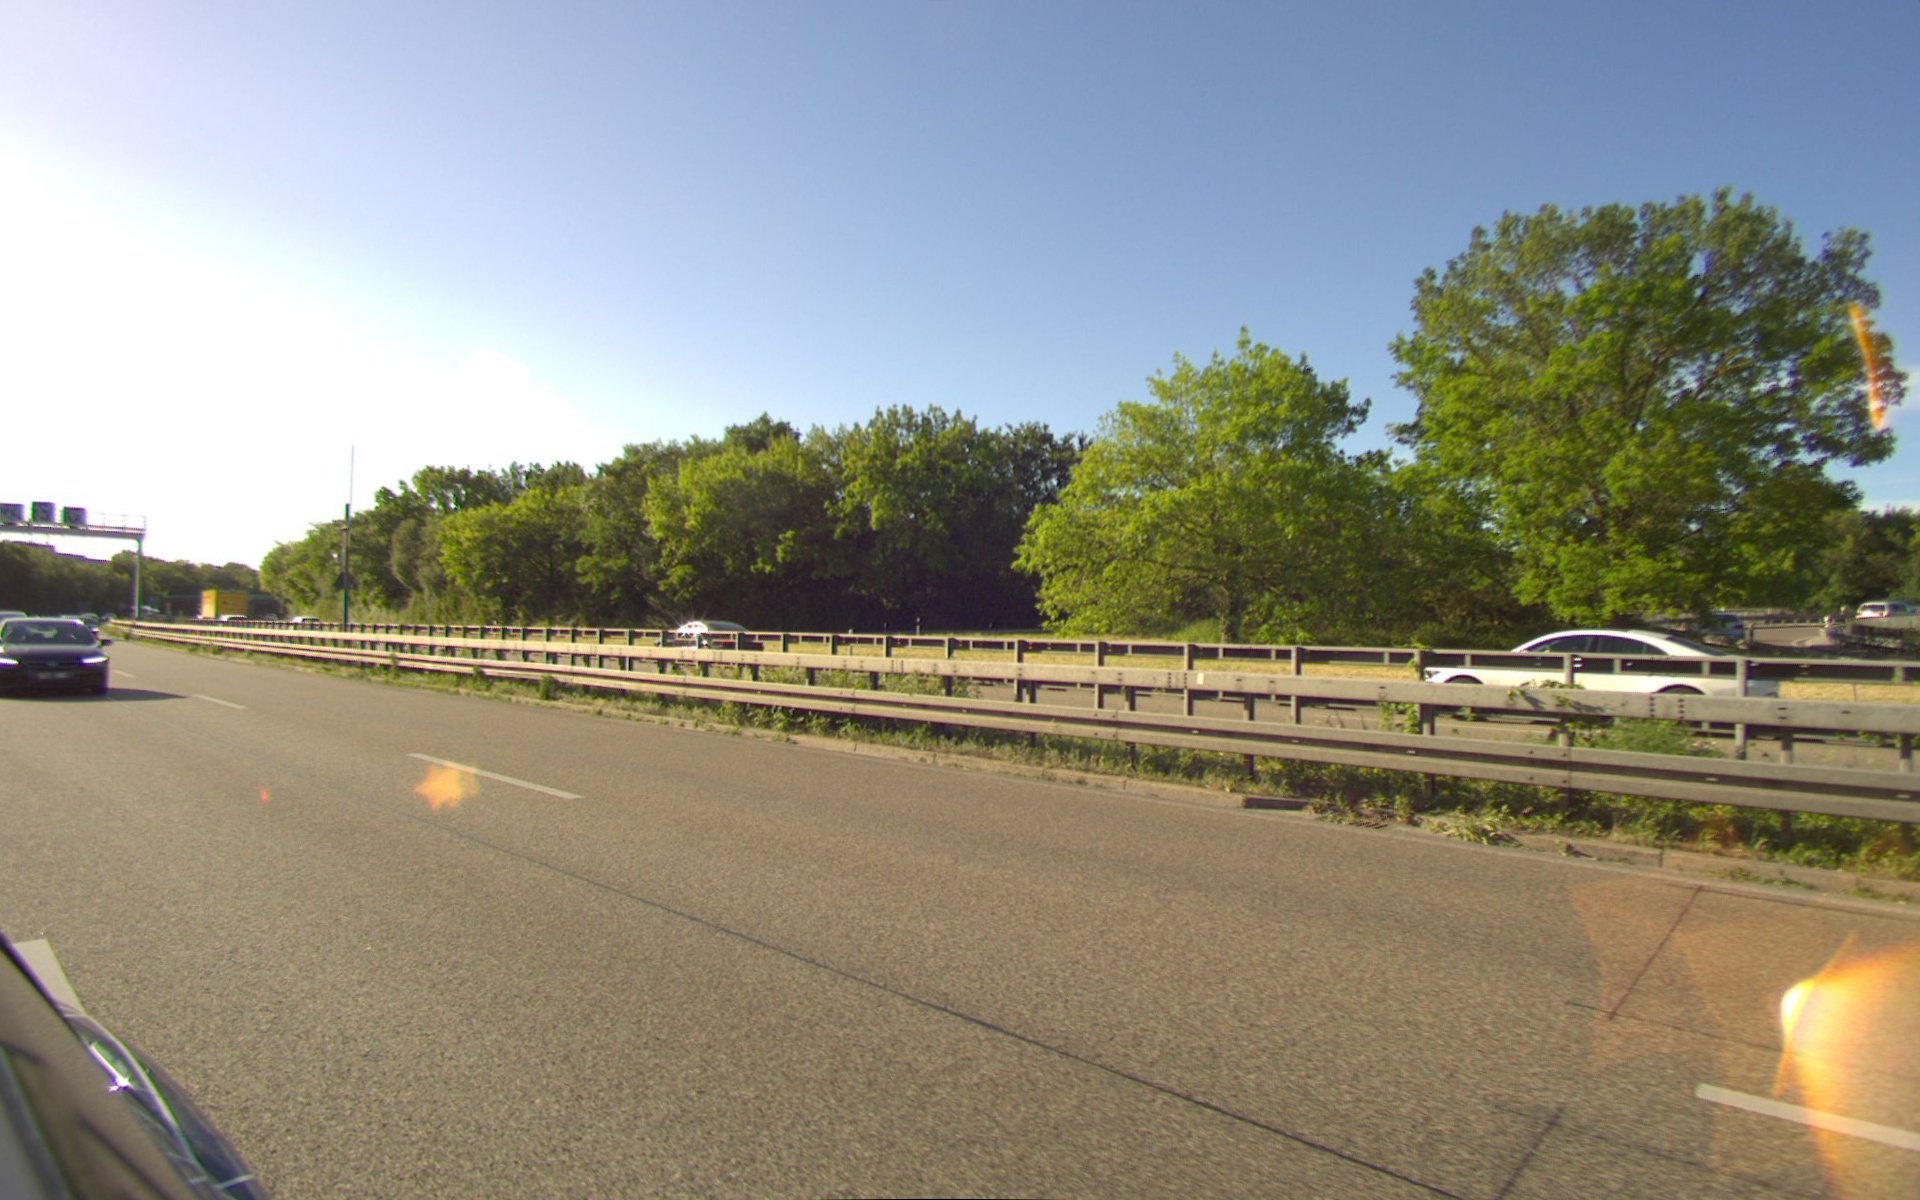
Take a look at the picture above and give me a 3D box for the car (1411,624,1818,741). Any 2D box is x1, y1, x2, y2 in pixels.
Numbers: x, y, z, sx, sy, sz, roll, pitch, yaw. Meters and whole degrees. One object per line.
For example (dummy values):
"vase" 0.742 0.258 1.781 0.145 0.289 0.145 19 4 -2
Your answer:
"car" 9.493 1.083 14.954 4.828 1.425 1.973 -1 -1 41

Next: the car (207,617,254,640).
"car" -49.082 1.893 68.027 1.970 1.425 4.836 1 -1 -43

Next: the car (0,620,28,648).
"car" -50.237 1.758 52.905 4.832 1.425 1.971 -1 -1 44

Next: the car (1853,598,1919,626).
"car" 58.312 0.736 62.815 4.642 1.653 2.005 0 -1 -13

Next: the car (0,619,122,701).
"car" -18.092 1.092 19.790 4.830 1.425 1.972 -1 -3 43

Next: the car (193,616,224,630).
"car" -77.732 2.372 104.712 1.970 1.425 4.834 1 -1 -44

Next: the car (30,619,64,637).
"car" -76.893 2.343 85.174 1.970 1.425 4.834 1 -1 -44

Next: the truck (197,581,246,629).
"truck" -71.753 0.504 98.269 3.127 4.453 8.030 -1 0 -41

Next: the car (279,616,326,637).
"car" -45.736 1.836 70.357 1.970 1.425 4.836 1 -1 -43

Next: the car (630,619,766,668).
"car" -8.472 1.331 32.471 4.830 1.425 1.972 -1 -1 43

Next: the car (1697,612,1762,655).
"car" 34.539 1.466 45.548 1.994 1.817 4.667 -1 -1 33

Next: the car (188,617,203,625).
"car" -133.728 3.608 176.966 1.968 1.425 4.839 1 -1 -39
